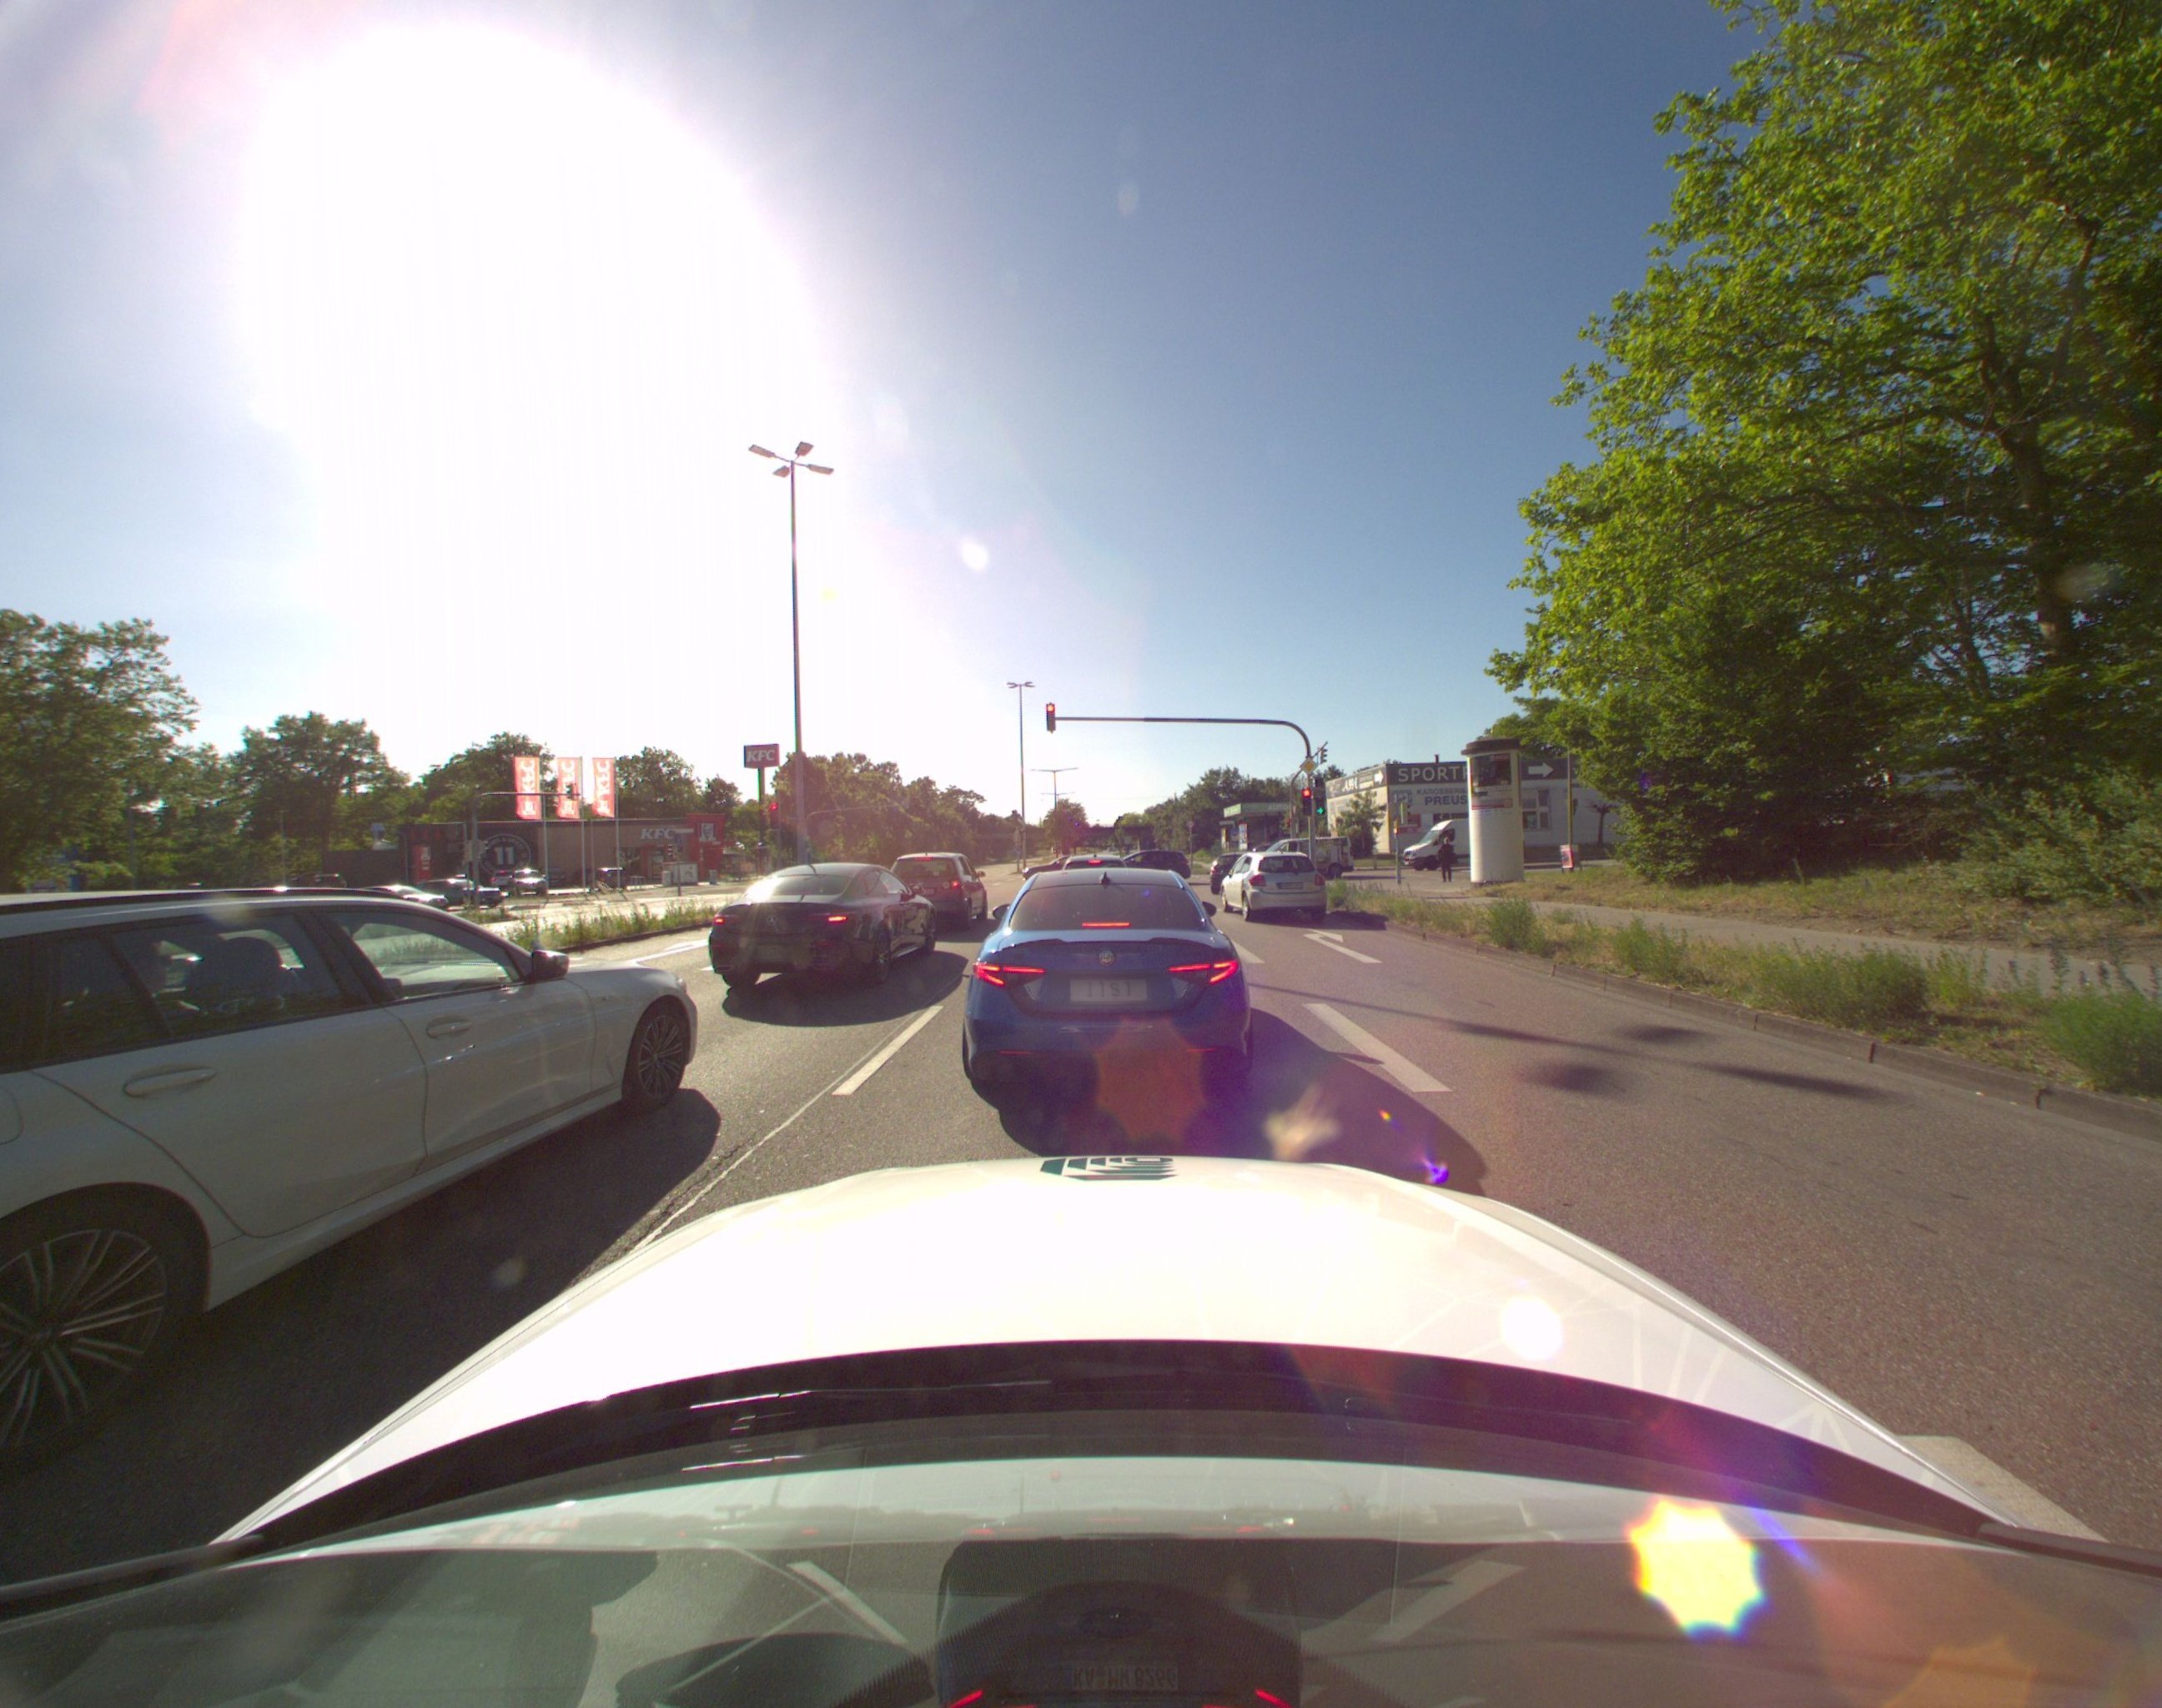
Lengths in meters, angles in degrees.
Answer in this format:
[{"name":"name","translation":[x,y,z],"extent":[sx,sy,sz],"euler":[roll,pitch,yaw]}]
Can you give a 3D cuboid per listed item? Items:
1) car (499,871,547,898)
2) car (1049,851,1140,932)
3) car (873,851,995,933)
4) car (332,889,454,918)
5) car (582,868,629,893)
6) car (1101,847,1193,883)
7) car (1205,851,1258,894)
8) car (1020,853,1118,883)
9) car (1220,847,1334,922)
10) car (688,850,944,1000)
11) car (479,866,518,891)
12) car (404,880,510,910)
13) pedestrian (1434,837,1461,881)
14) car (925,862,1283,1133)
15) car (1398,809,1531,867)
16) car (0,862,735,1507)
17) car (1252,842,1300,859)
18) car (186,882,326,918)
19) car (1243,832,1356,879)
[{"name":"car","translation":[-37.375,2.011,54.534],"extent":[1.946,1.740,4.046],"euler":[0,-1,-45]},{"name":"car","translation":[0.362,0.719,17.026],"extent":[1.696,1.497,3.722],"euler":[0,-1,3]},{"name":"car","translation":[-3.005,0.736,17.598],"extent":[1.806,1.551,4.353],"euler":[0,-1,0]},{"name":"car","translation":[-32.178,2.307,38.187],"extent":[4.070,1.252,1.871],"euler":[0,-1,0]},{"name":"car","translation":[-33.908,1.856,58.005],"extent":[1.946,1.740,4.046],"euler":[0,-1,-45]},{"name":"car","translation":[3.095,0.502,38.672],"extent":[4.291,1.650,1.638],"euler":[0,-1,1]},{"name":"car","translation":[5.476,0.612,29.475],"extent":[1.723,1.442,4.385],"euler":[0,0,11]},{"name":"car","translation":[-0.623,0.687,41.806],"extent":[4.820,1.468,1.752],"euler":[0,-1,-11]},{"name":"car","translation":[4.415,0.627,18.968],"extent":[1.777,1.537,4.109],"euler":[0,0,2]},{"name":"car","translation":[-3.169,0.743,10.836],"extent":[1.806,1.551,4.544],"euler":[-1,0,1]},{"name":"car","translation":[-45.466,1.882,63.560],"extent":[2.011,1.813,3.727],"euler":[0,-1,-43]},{"name":"car","translation":[-31.915,2.085,41.730],"extent":[3.940,1.453,1.936],"euler":[0,-1,0]},{"name":"pedestrian","translation":[14.194,0.186,31.557],"extent":[0.814,1.669,0.514],"euler":[0,-1,1]},{"name":"car","translation":[0.227,0.785,6.209],"extent":[1.901,1.423,3.722],"euler":[0,-1,3]},{"name":"car","translation":[19.817,-0.780,42.260],"extent":[5.812,2.672,2.001],"euler":[-3,-1,2]},{"name":"car","translation":[-3.421,0.822,3.396],"extent":[1.805,1.486,4.599],"euler":[-1,0,2]},{"name":"car","translation":[17.825,-0.312,74.430],"extent":[3.971,1.552,2.001],"euler":[0,-1,2]},{"name":"car","translation":[-39.091,2.179,38.671],"extent":[4.608,1.579,1.936],"euler":[0,-1,0]},{"name":"car","translation":[10.498,0.087,39.378],"extent":[4.937,2.035,1.881],"euler":[-2,-1,0]}]
